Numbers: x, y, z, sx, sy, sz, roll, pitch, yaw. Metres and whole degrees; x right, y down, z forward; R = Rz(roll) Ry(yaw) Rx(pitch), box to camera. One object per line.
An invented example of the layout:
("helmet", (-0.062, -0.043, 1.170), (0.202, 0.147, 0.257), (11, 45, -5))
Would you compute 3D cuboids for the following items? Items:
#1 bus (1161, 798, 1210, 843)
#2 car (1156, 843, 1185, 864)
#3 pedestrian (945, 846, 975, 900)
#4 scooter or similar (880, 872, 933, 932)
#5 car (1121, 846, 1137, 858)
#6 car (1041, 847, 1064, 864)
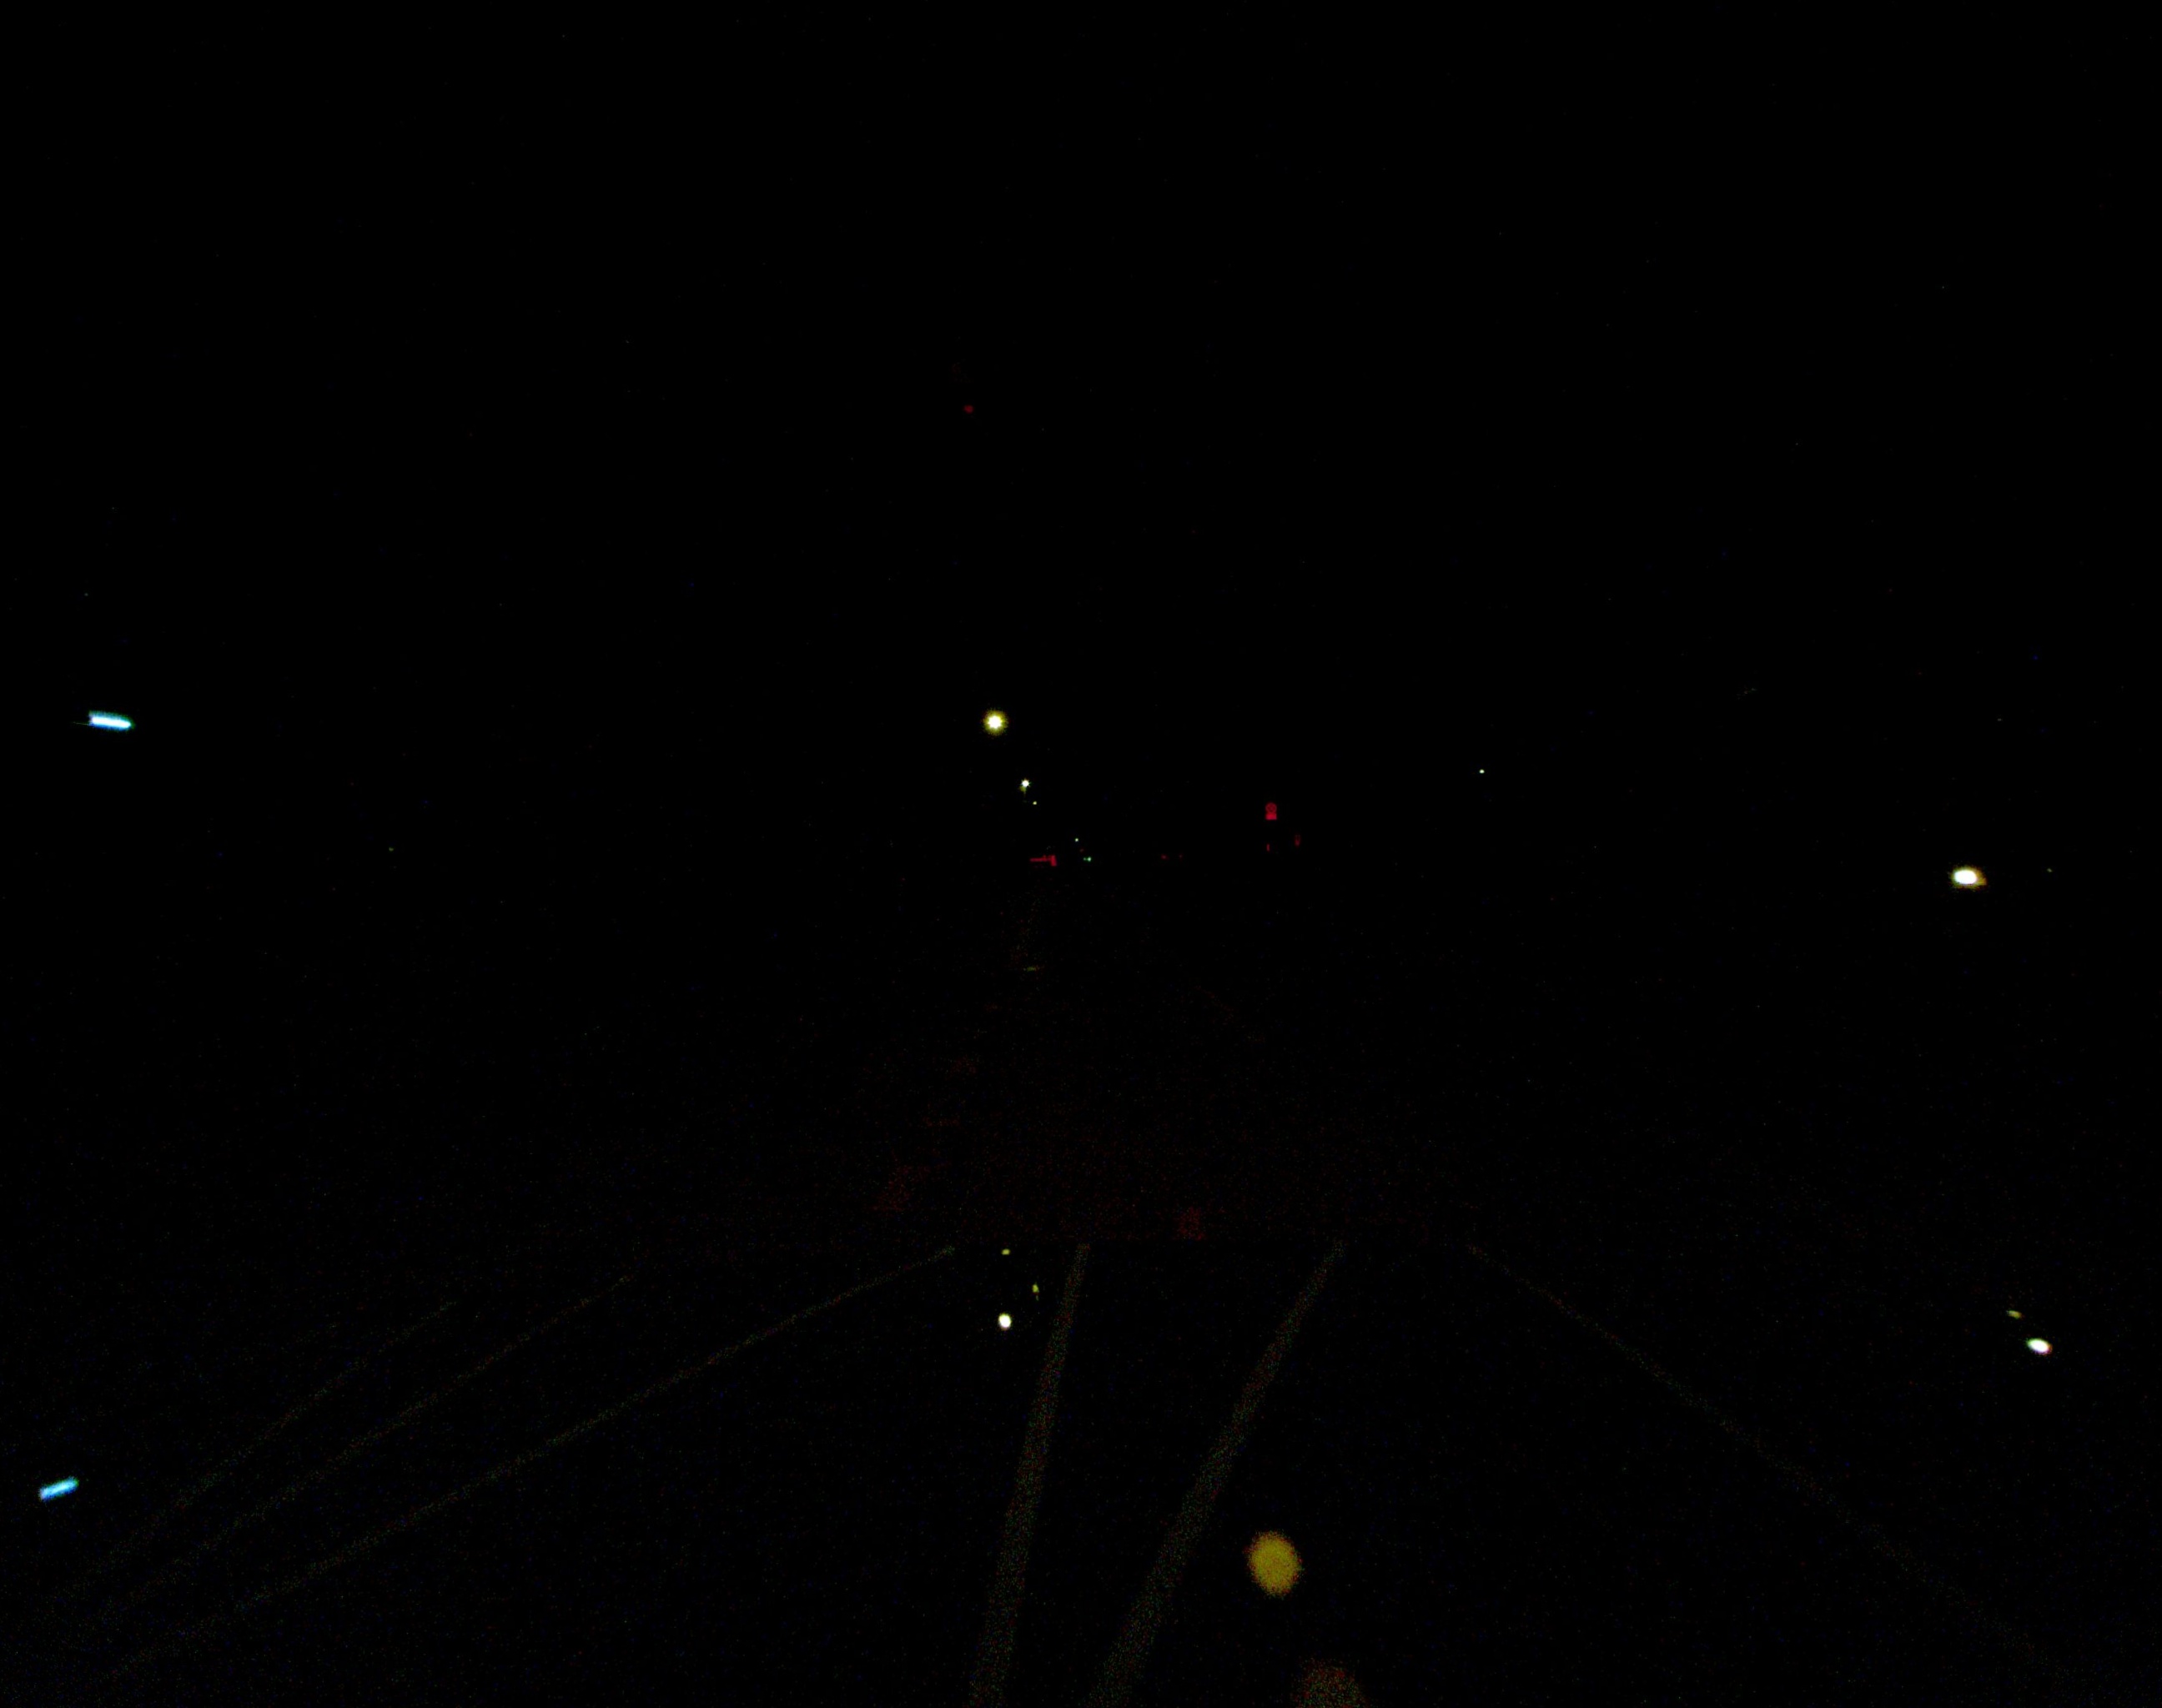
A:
("bus", (17.518, -5.537, 129.006), (6.135, 6.898, 14.781), (-2, 1, 1))
("car", (7.129, -0.055, 60.792), (1.806, 1.583, 3.999), (-2, 1, -1))
("pedestrian", (-4.337, 0.654, 27.231), (0.819, 1.854, 1.034), (-2, 1, 1))
("scooter or similar", (-3.669, 1.003, 16.031), (0.468, 1.195, 1.137), (-2, 0, 24))
("car", (6.275, -0.344, 100.383), (1.863, 1.484, 4.080), (-2, 1, 1))
("car", (-2.904, 0.133, 78.148), (1.998, 1.638, 4.000), (1, 2, 4))
